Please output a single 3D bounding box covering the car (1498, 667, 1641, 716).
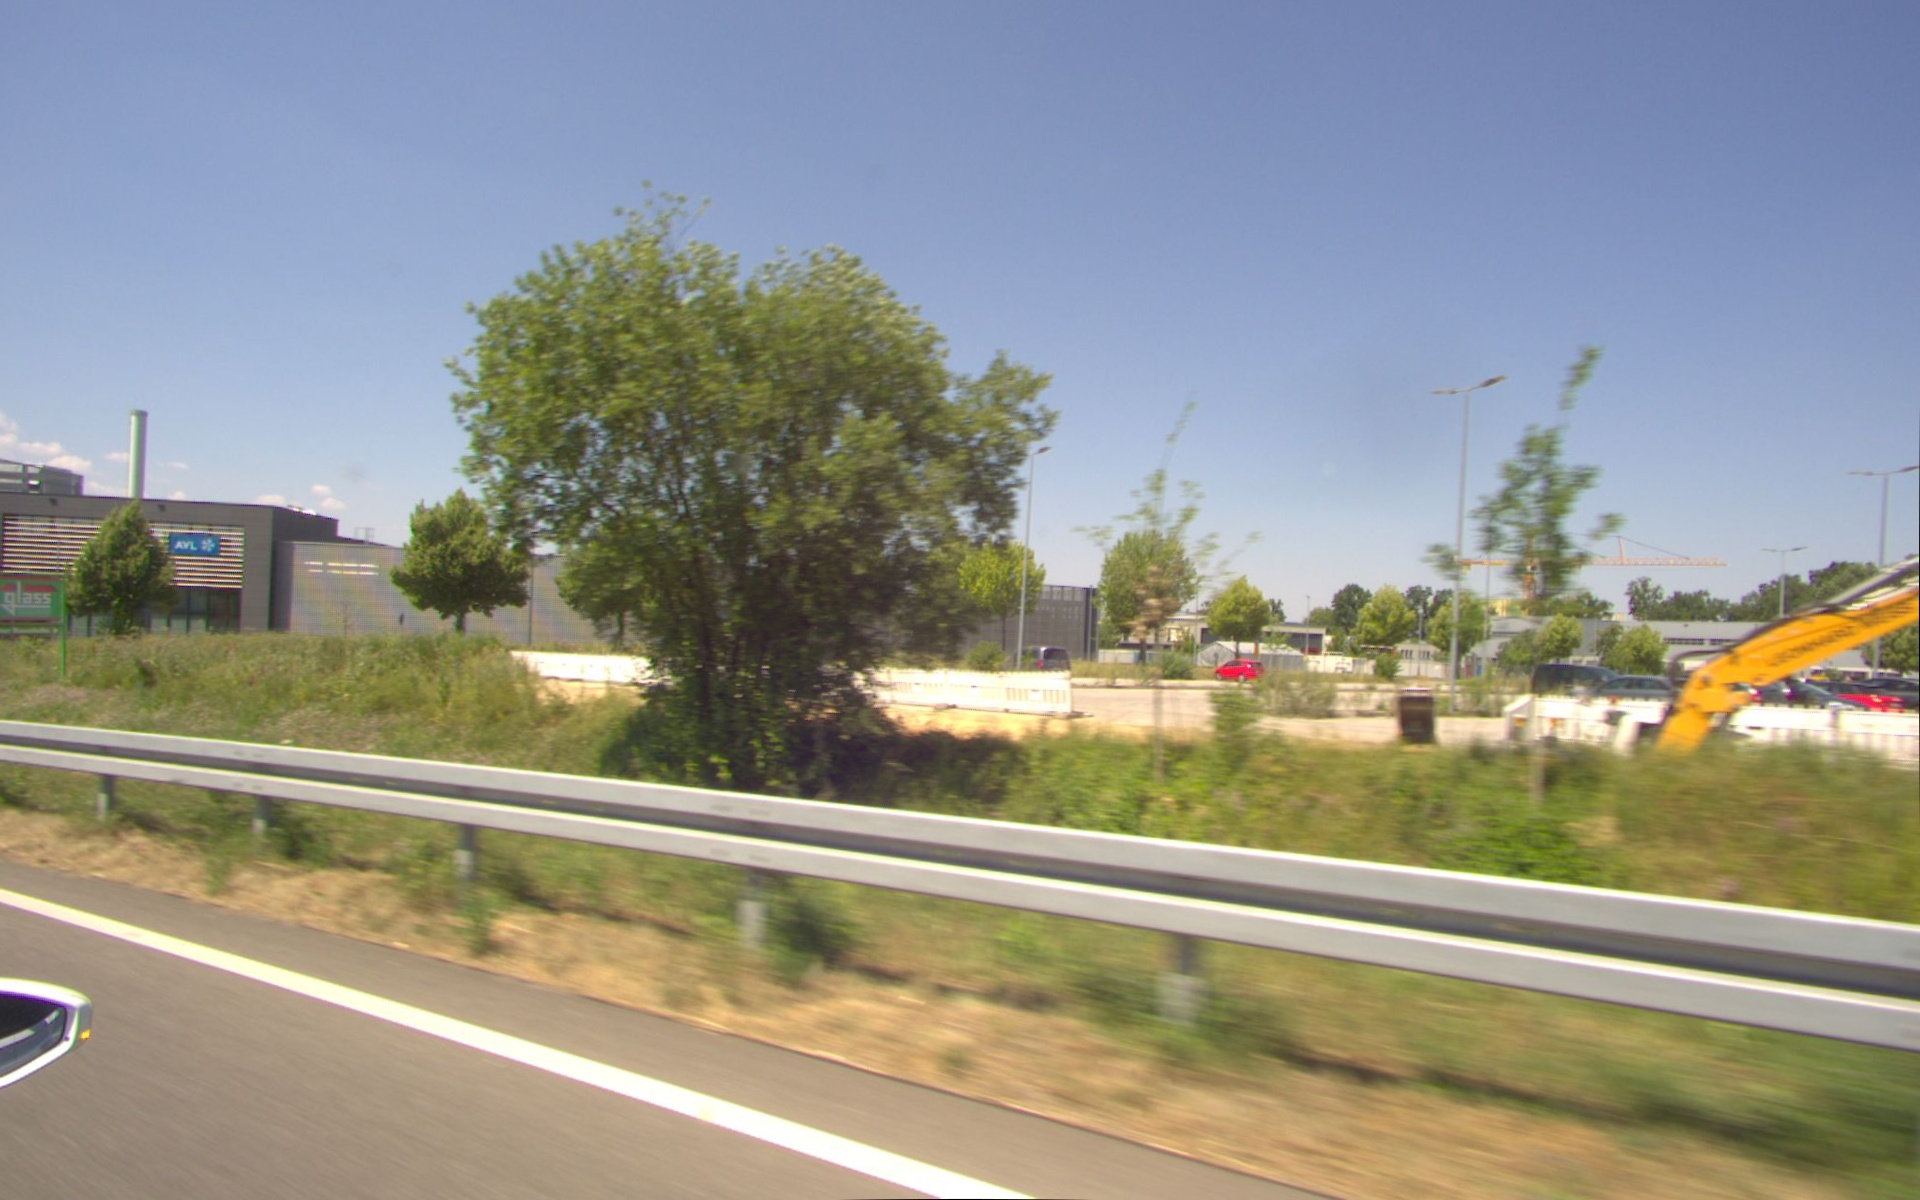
[{"bbox_3d":[24.148,3.579,39.854,2.069,1.706,4.526,2,-3,-24],"label":"car"}]

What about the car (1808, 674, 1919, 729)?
[{"bbox_3d":[32.639,3.514,34.832,1.915,1.706,4.413,1,-2,-20],"label":"car"}]

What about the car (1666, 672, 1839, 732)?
[{"bbox_3d":[25.578,3.234,32.487,1.915,1.657,3.991,1,-2,-20],"label":"car"}]

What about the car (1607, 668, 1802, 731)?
[{"bbox_3d":[23.119,3.029,31.338,1.981,1.657,4.579,1,-2,-20],"label":"car"}]

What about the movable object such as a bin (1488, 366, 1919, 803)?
[{"bbox_3d":[12.529,-0.107,13.707,9.087,5.328,3.422,2,-1,30],"label":"movable object such as a bin"}]

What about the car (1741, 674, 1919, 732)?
[{"bbox_3d":[30.176,3.509,34.788,1.915,1.657,4.510,1,-2,-20],"label":"car"}]

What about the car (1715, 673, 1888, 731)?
[{"bbox_3d":[27.852,3.323,33.286,1.915,1.657,3.991,1,-2,-20],"label":"car"}]

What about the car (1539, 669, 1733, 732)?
[{"bbox_3d":[20.344,2.969,30.380,1.967,1.527,4.601,1,-1,-22],"label":"car"}]

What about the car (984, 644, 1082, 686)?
[{"bbox_3d":[3.374,3.019,47.310,2.072,1.838,5.320,2,-3,-28],"label":"car"}]

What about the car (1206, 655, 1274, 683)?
[{"bbox_3d":[18.231,4.458,65.430,2.067,1.706,4.531,2,-3,-20],"label":"car"}]

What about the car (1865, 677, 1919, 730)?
[{"bbox_3d":[37.563,3.993,38.010,1.915,1.949,4.413,1,-2,-20],"label":"car"}]
